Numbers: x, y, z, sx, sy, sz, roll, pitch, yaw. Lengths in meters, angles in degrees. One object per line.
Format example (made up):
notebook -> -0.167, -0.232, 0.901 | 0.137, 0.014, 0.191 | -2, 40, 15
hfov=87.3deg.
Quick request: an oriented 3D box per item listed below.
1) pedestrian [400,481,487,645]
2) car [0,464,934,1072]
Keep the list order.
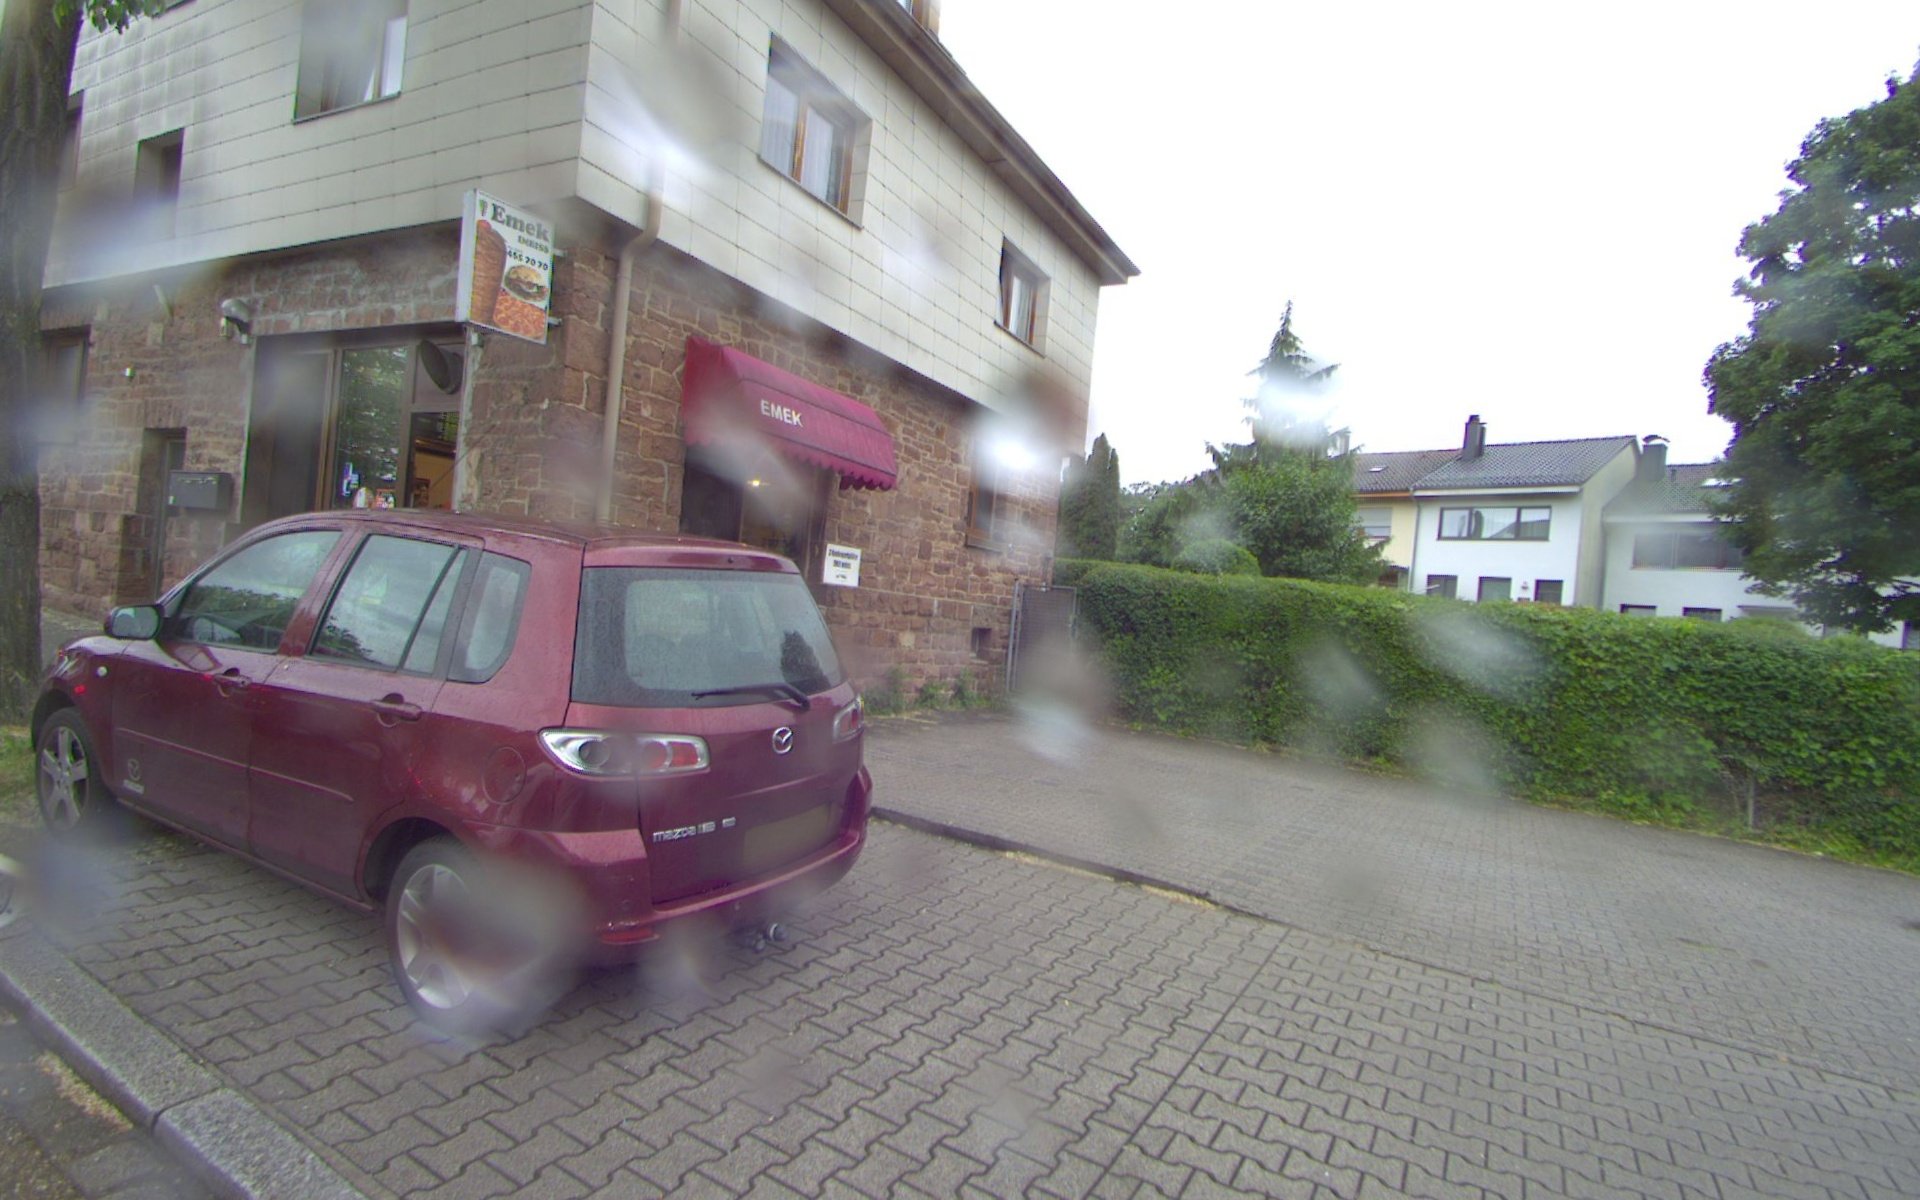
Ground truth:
pedestrian -> -5.564, -0.393, 10.845 | 0.447, 1.679, 0.493 | 7, -1, 31
car -> -2.165, 0.373, 4.135 | 3.692, 1.521, 1.614 | 5, -3, 29
